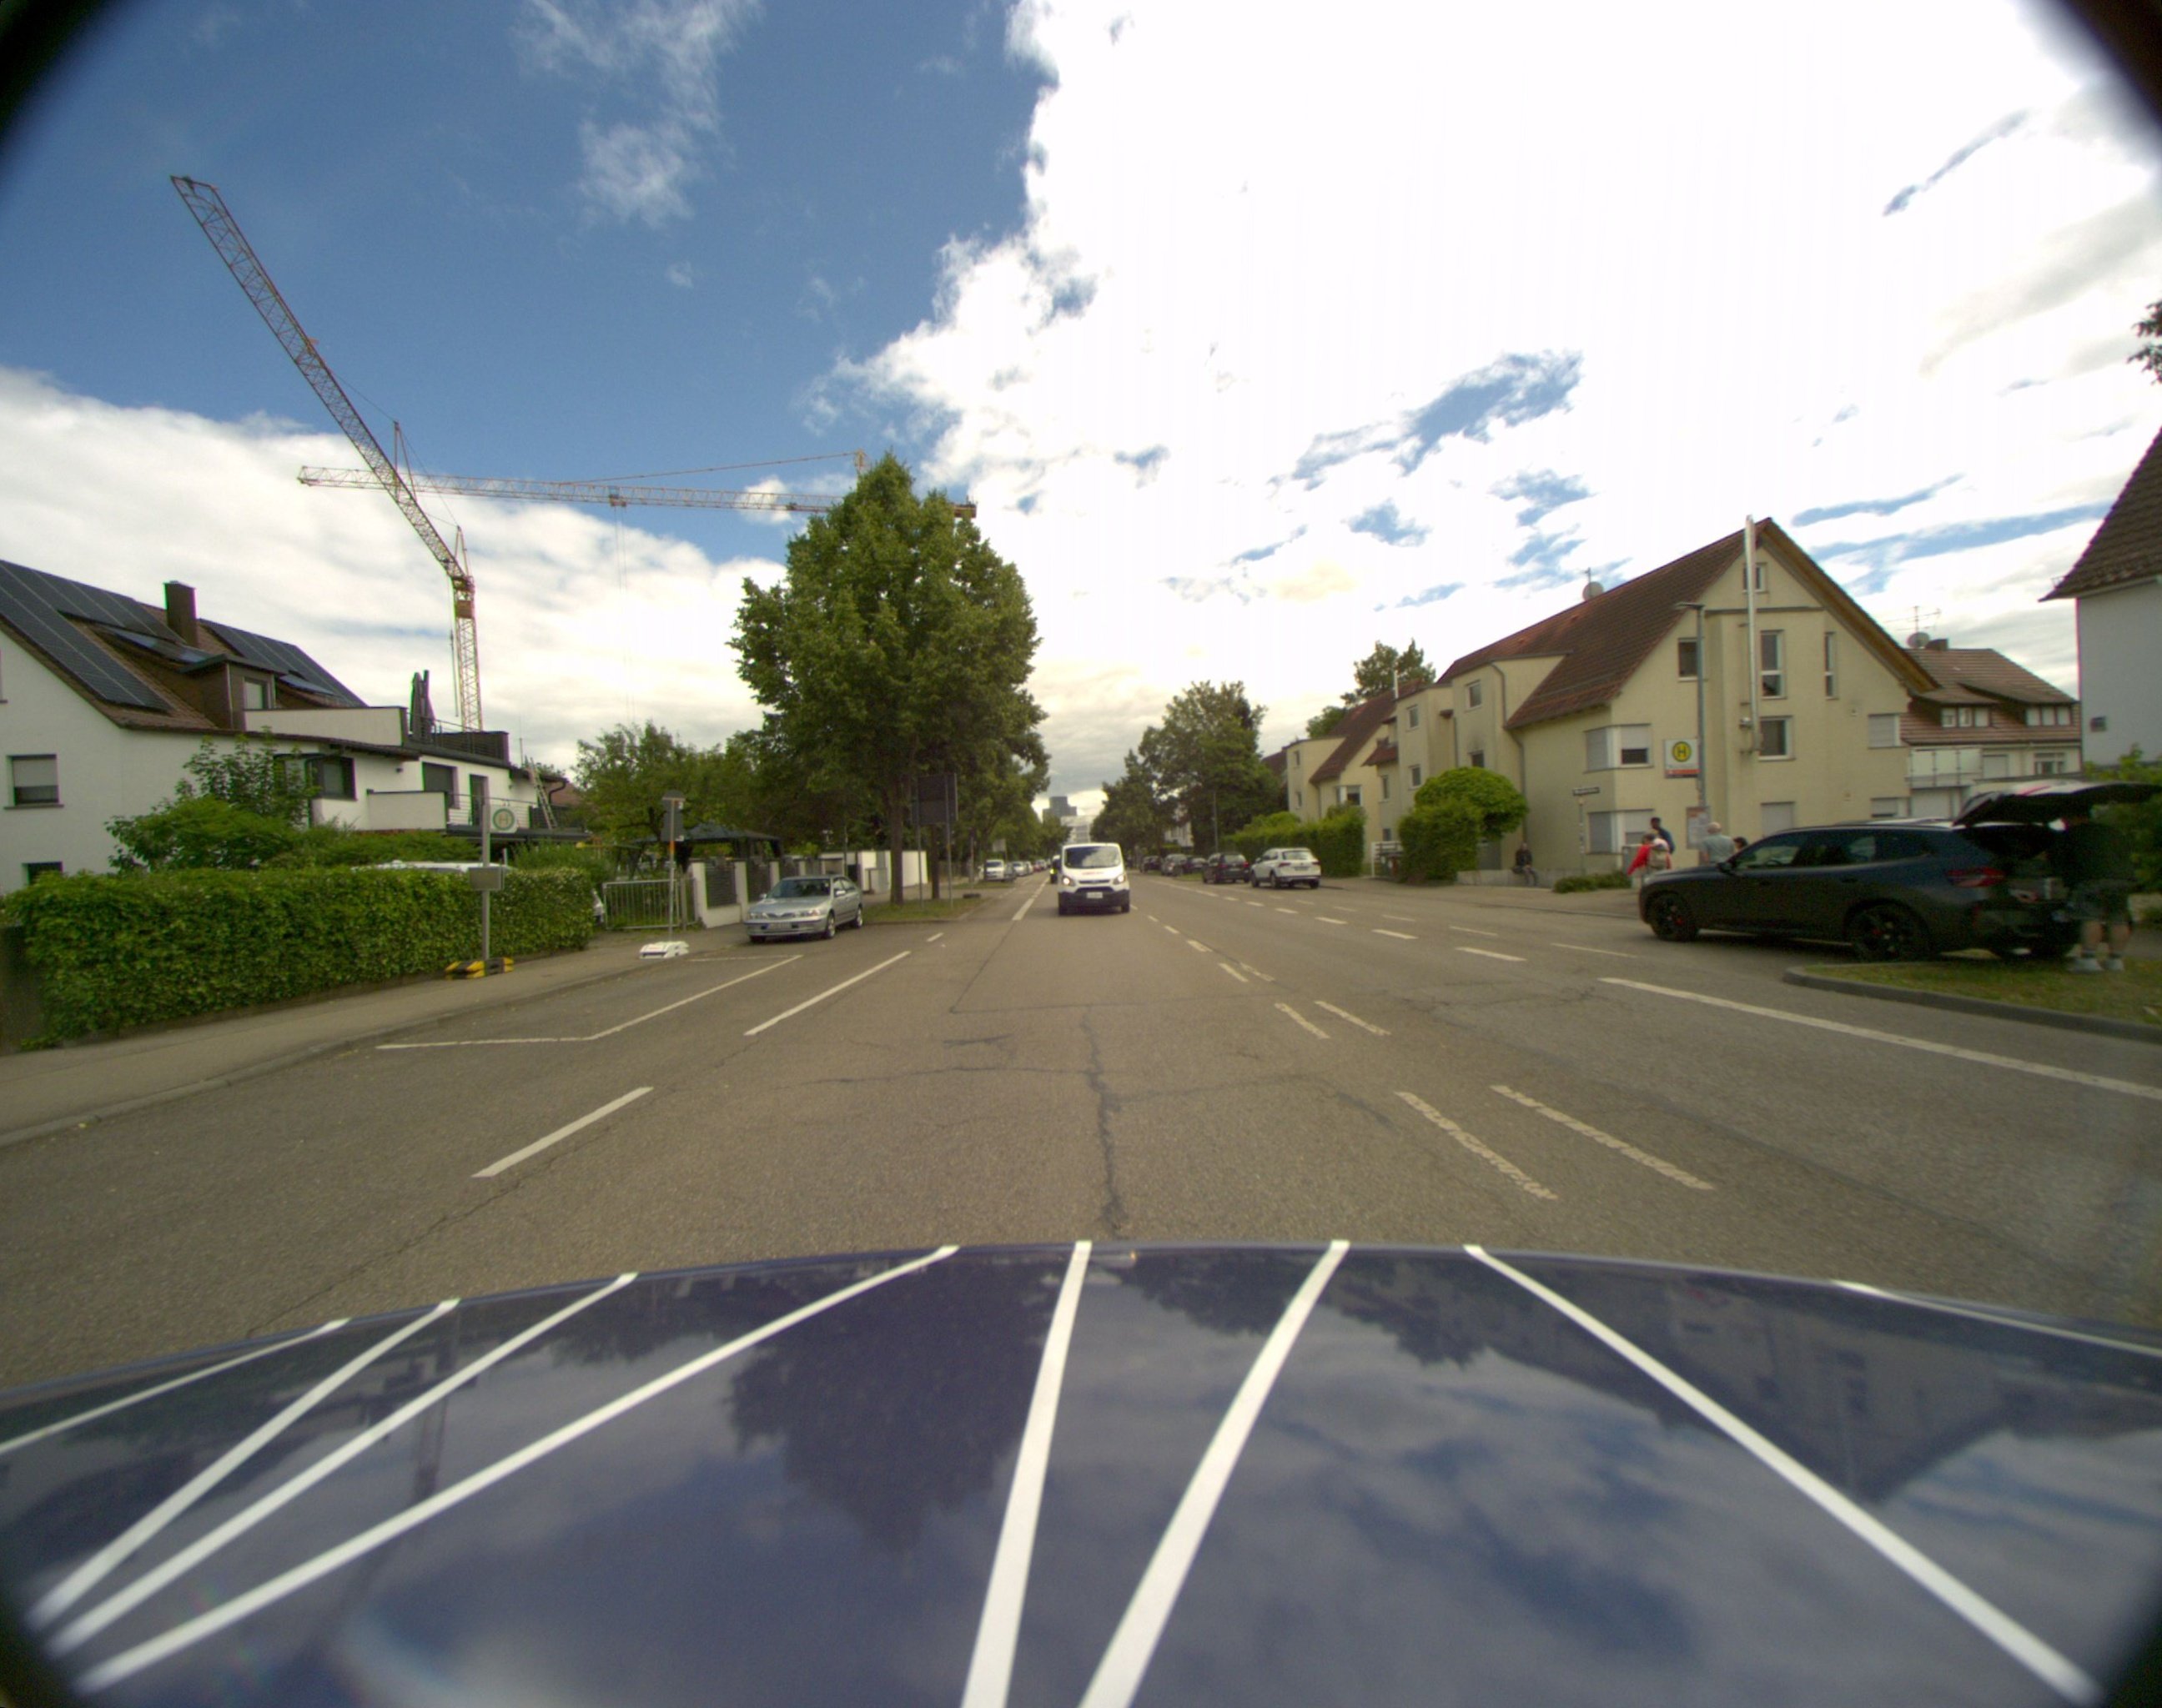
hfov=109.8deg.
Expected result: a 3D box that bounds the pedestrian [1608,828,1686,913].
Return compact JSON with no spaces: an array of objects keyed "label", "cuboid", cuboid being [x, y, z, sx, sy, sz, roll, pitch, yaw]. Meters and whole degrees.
[{"label":"pedestrian","cuboid":[11.760,0.340,15.808,0.789,1.654,0.881,-6,1,-9]}]

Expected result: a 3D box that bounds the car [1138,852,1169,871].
[{"label":"car","cuboid":[6.678,0.663,70.904,2.101,1.637,5.037,-1,0,-3]}]

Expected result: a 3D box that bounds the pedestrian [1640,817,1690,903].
[{"label":"pedestrian","cuboid":[12.628,0.122,16.433,0.505,1.795,0.671,-2,1,-2]}]

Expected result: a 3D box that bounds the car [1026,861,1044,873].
[{"label":"car","cuboid":[-6.084,1.689,100.329,1.864,1.405,4.444,-5,-1,1]}]

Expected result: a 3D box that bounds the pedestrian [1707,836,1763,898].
[{"label":"pedestrian","cuboid":[14.366,0.274,16.701,0.589,1.305,0.706,-2,1,-1]}]

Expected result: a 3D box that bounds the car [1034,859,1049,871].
[{"label":"car","cuboid":[-5.758,1.533,109.963,1.820,1.506,4.679,-4,1,0]}]

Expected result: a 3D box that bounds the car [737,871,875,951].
[{"label":"car","cuboid":[-6.156,1.209,17.575,1.616,1.369,4.385,-2,1,-1]}]

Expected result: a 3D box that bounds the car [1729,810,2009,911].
[{"label":"car","cuboid":[15.445,0.086,14.934,4.530,1.545,2.033,-4,1,-19]}]

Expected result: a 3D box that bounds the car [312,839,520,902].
[{"label":"car","cuboid":[-23.461,0.548,27.038,5.200,1.892,2.047,-3,1,-9]}]

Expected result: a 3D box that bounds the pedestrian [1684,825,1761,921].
[{"label":"pedestrian","cuboid":[11.752,0.337,13.930,0.789,1.654,0.591,-6,1,-3]}]

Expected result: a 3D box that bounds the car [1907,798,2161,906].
[{"label":"car","cuboid":[16.937,-0.079,12.993,3.999,1.474,1.790,-5,0,-8]}]

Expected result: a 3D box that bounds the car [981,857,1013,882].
[{"label":"car","cuboid":[-6.008,1.103,54.637,1.905,1.633,4.115,-2,1,-2]}]

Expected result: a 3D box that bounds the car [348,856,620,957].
[{"label":"car","cuboid":[-12.369,1.029,16.007,3.998,1.812,1.999,-2,0,-4]}]

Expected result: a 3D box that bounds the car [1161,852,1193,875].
[{"label":"car","cuboid":[7.170,0.667,56.933,1.723,1.603,3.909,-2,0,-2]}]

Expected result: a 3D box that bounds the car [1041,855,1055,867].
[{"label":"car","cuboid":[-5.500,1.158,128.313,1.998,1.805,4.827,-4,1,1]}]

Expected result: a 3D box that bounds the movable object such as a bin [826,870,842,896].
[{"label":"movable object such as a bin","cuboid":[-9.890,1.172,30.415,0.437,1.016,0.454,-2,1,0]}]

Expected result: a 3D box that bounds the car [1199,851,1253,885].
[{"label":"car","cuboid":[7.297,0.684,38.726,1.682,1.543,4.271,-2,0,-3]}]

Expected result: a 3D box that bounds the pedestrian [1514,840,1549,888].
[{"label":"pedestrian","cuboid":[14.935,0.325,25.202,0.672,1.551,0.836,-2,0,4]}]

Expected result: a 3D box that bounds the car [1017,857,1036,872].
[{"label":"car","cuboid":[-6.089,1.117,85.388,1.772,1.501,4.030,-2,1,1]}]

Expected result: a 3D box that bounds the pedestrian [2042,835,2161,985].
[{"label":"pedestrian","cuboid":[10.127,0.537,7.547,0.553,1.427,0.497,-2,0,30]}]

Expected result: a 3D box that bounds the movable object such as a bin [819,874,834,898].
[{"label":"movable object such as a bin","cuboid":[-9.991,1.236,29.841,0.437,0.915,0.395,-2,1,-1]}]

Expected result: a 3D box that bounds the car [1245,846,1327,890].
[{"label":"car","cuboid":[8.421,0.543,31.690,1.826,1.624,4.584,-2,0,-4]}]

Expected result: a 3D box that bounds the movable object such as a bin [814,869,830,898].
[{"label":"movable object such as a bin","cuboid":[-9.977,1.145,29.308,0.437,1.103,0.454,-2,1,0]}]

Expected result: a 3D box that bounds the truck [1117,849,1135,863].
[{"label":"truck","cuboid":[7.070,0.301,120.498,2.429,2.031,5.994,-3,0,0]}]

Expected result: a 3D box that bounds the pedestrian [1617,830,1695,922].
[{"label":"pedestrian","cuboid":[11.082,0.408,14.664,0.789,1.654,0.754,-6,1,-9]}]

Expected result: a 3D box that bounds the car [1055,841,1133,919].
[{"label":"car","cuboid":[0.384,0.668,22.684,1.998,2.002,5.188,-2,1,1]}]

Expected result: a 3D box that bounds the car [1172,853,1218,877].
[{"label":"car","cuboid":[7.632,0.723,51.330,1.999,1.476,4.888,-2,0,-4]}]

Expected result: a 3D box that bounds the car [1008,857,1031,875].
[{"label":"car","cuboid":[-5.970,1.139,74.251,1.866,1.601,4.686,-4,1,-1]}]

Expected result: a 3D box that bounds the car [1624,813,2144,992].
[{"label":"car","cuboid":[9.734,0.484,9.923,1.729,1.714,4.563,-3,0,-4]}]
